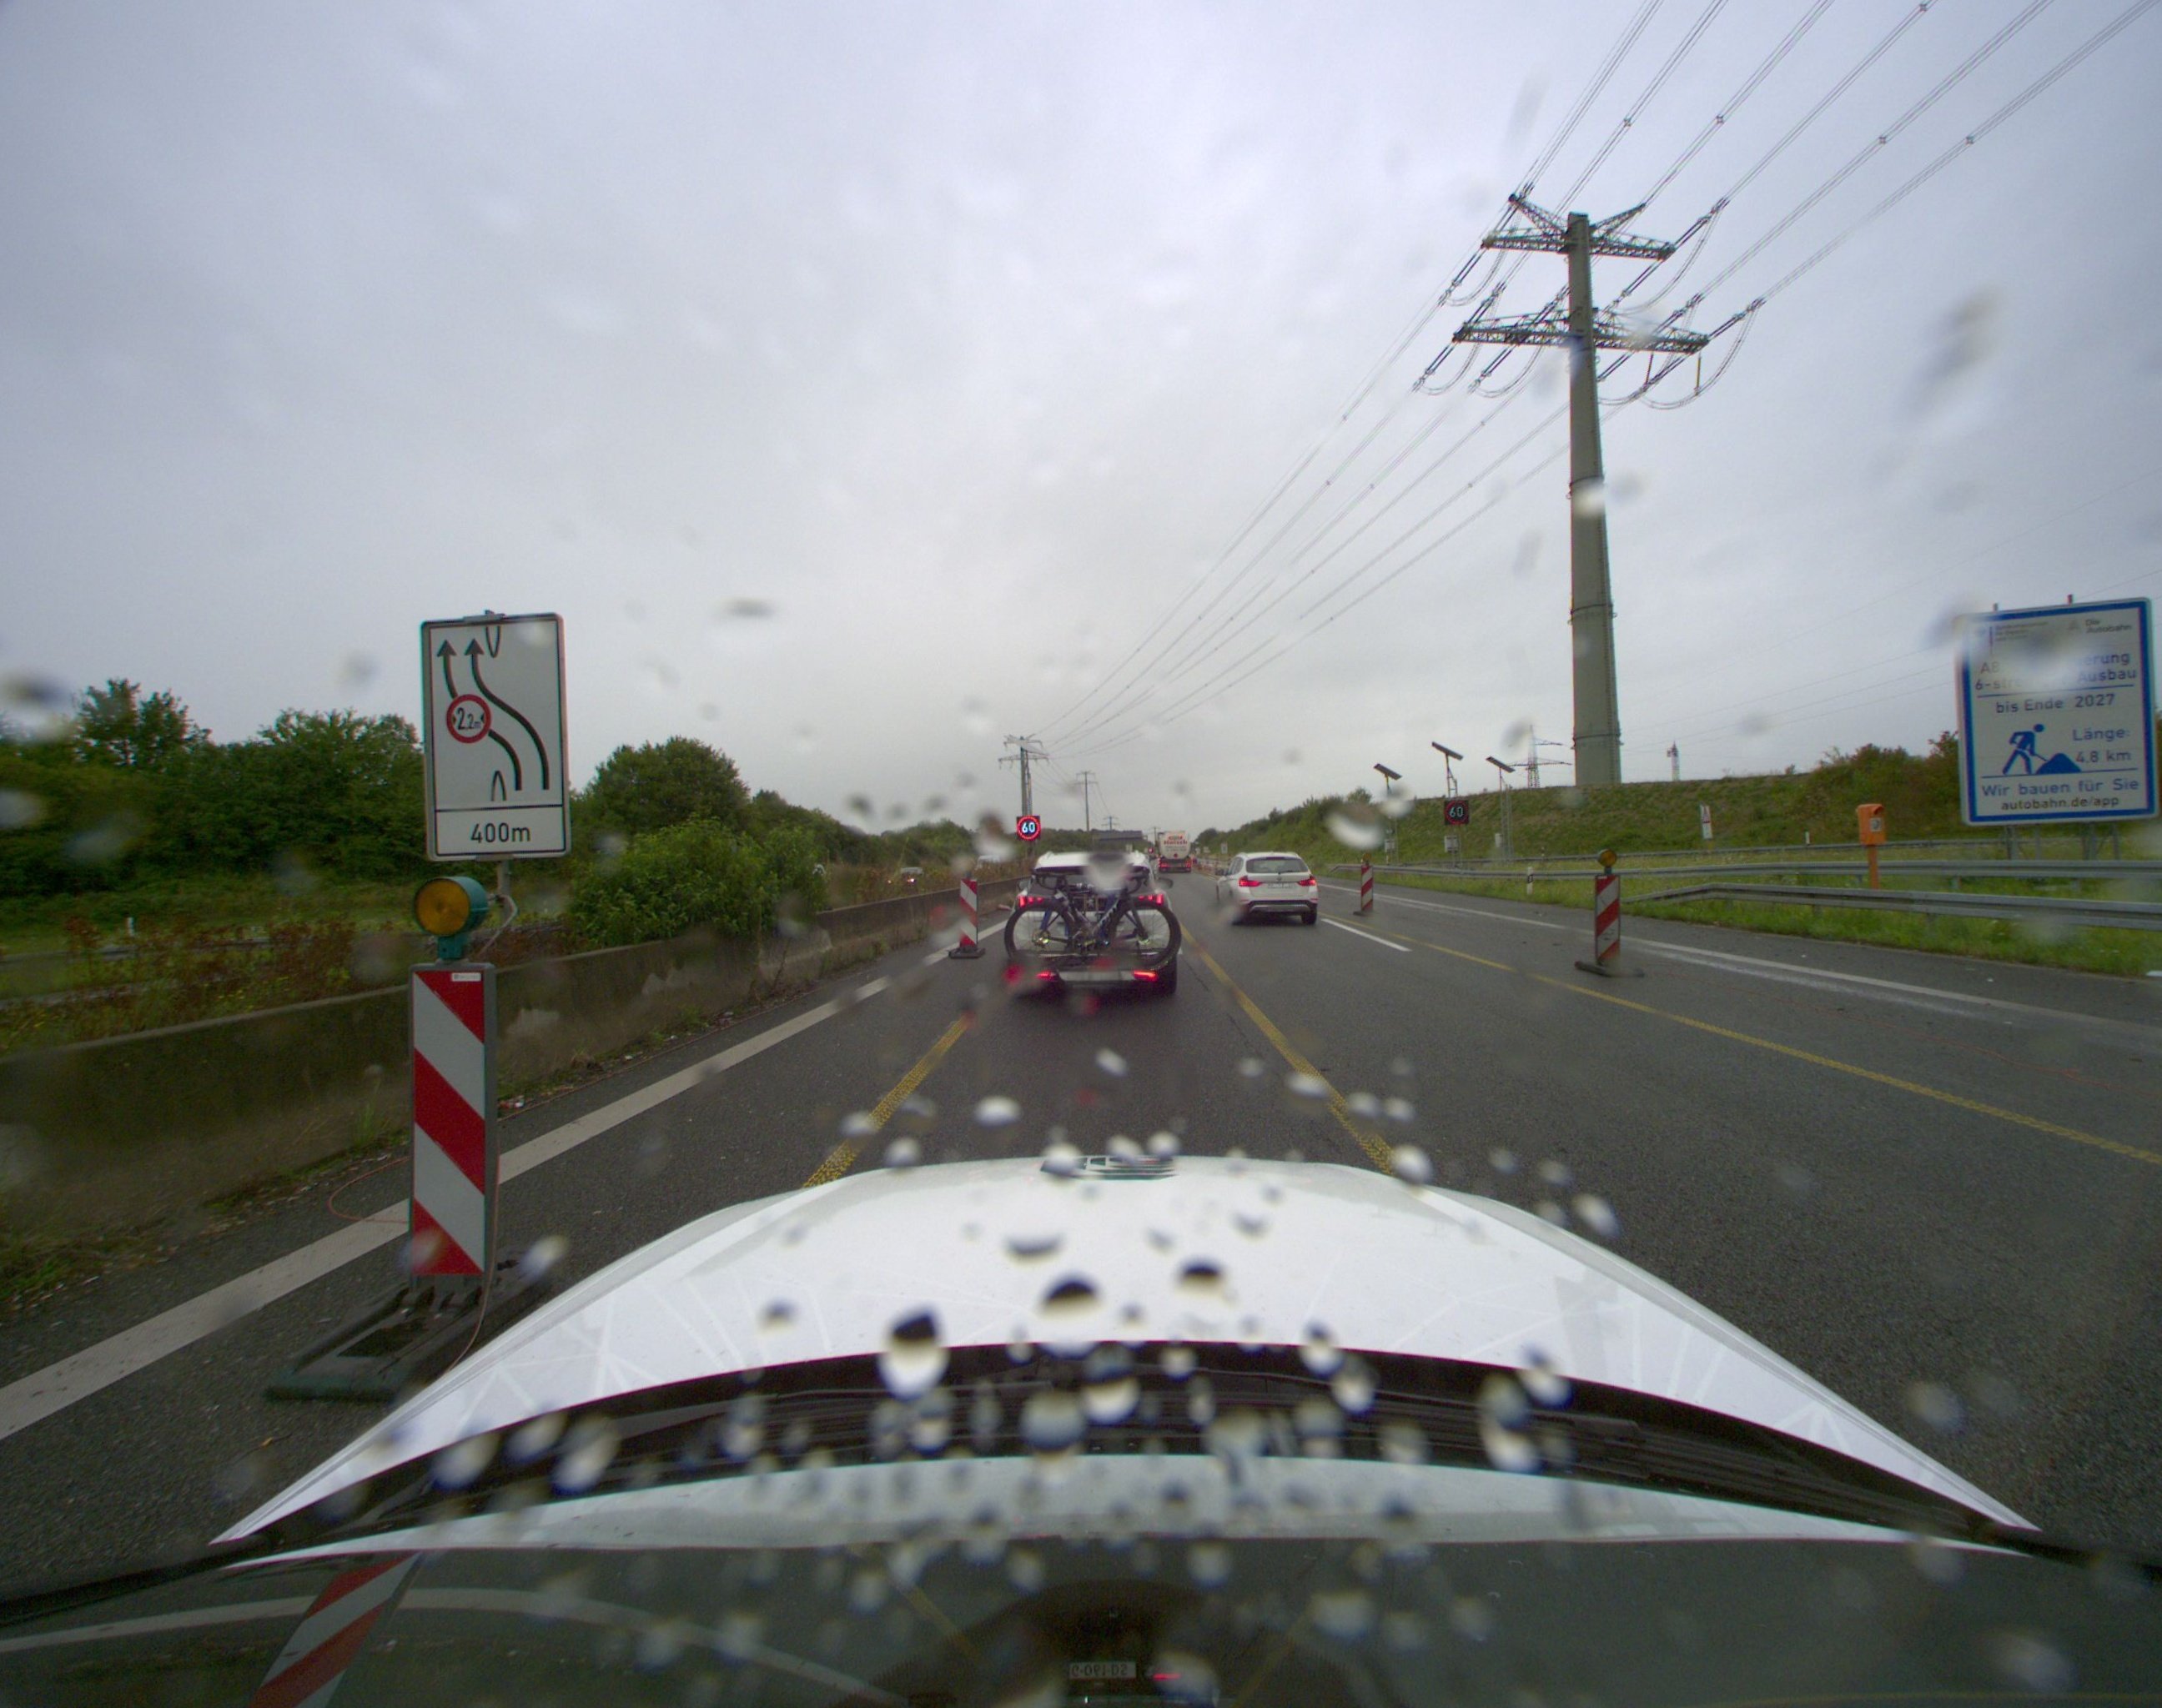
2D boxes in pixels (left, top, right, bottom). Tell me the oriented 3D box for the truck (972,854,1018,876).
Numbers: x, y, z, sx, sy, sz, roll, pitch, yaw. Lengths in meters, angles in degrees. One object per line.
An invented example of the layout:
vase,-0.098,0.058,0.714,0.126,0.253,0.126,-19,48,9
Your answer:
truck,-11.061,1.394,105.484,1.974,2.428,6.475,-3,0,37

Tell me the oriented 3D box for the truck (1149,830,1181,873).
truck,7.849,-0.188,76.609,2.635,3.891,4.031,0,-1,2

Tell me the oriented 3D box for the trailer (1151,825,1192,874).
trailer,7.633,-0.270,70.016,2.628,3.893,10.547,0,-1,2

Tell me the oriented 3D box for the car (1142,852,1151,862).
car,13.325,0.574,165.244,1.645,2.013,4.007,-1,0,6

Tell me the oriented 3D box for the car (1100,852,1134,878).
car,2.260,0.666,51.602,1.986,1.584,4.002,-1,0,2

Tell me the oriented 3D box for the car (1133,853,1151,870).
car,7.061,0.874,94.760,1.986,2.014,4.001,0,-1,2

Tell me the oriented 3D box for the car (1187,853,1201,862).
car,16.476,0.522,118.706,1.477,1.161,3.908,-3,0,2

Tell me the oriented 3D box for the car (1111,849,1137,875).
car,3.448,0.627,65.984,1.986,2.013,4.002,-3,0,2

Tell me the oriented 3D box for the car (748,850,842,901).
car,-10.858,0.800,31.233,1.985,1.801,4.003,0,-1,3

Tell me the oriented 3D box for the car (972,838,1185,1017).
car,0.136,0.673,9.726,1.919,1.611,4.600,-1,0,4

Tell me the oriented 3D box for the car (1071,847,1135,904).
car,0.825,0.696,28.231,1.985,1.760,4.004,-3,0,3

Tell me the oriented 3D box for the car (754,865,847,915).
car,-10.743,1.347,31.502,1.860,1.649,4.005,-3,0,4

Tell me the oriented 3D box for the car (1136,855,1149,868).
car,9.986,1.227,132.840,1.986,2.014,4.001,0,-1,2

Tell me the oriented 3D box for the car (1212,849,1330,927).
car,4.158,0.686,18.472,1.862,1.535,4.200,-1,0,3
